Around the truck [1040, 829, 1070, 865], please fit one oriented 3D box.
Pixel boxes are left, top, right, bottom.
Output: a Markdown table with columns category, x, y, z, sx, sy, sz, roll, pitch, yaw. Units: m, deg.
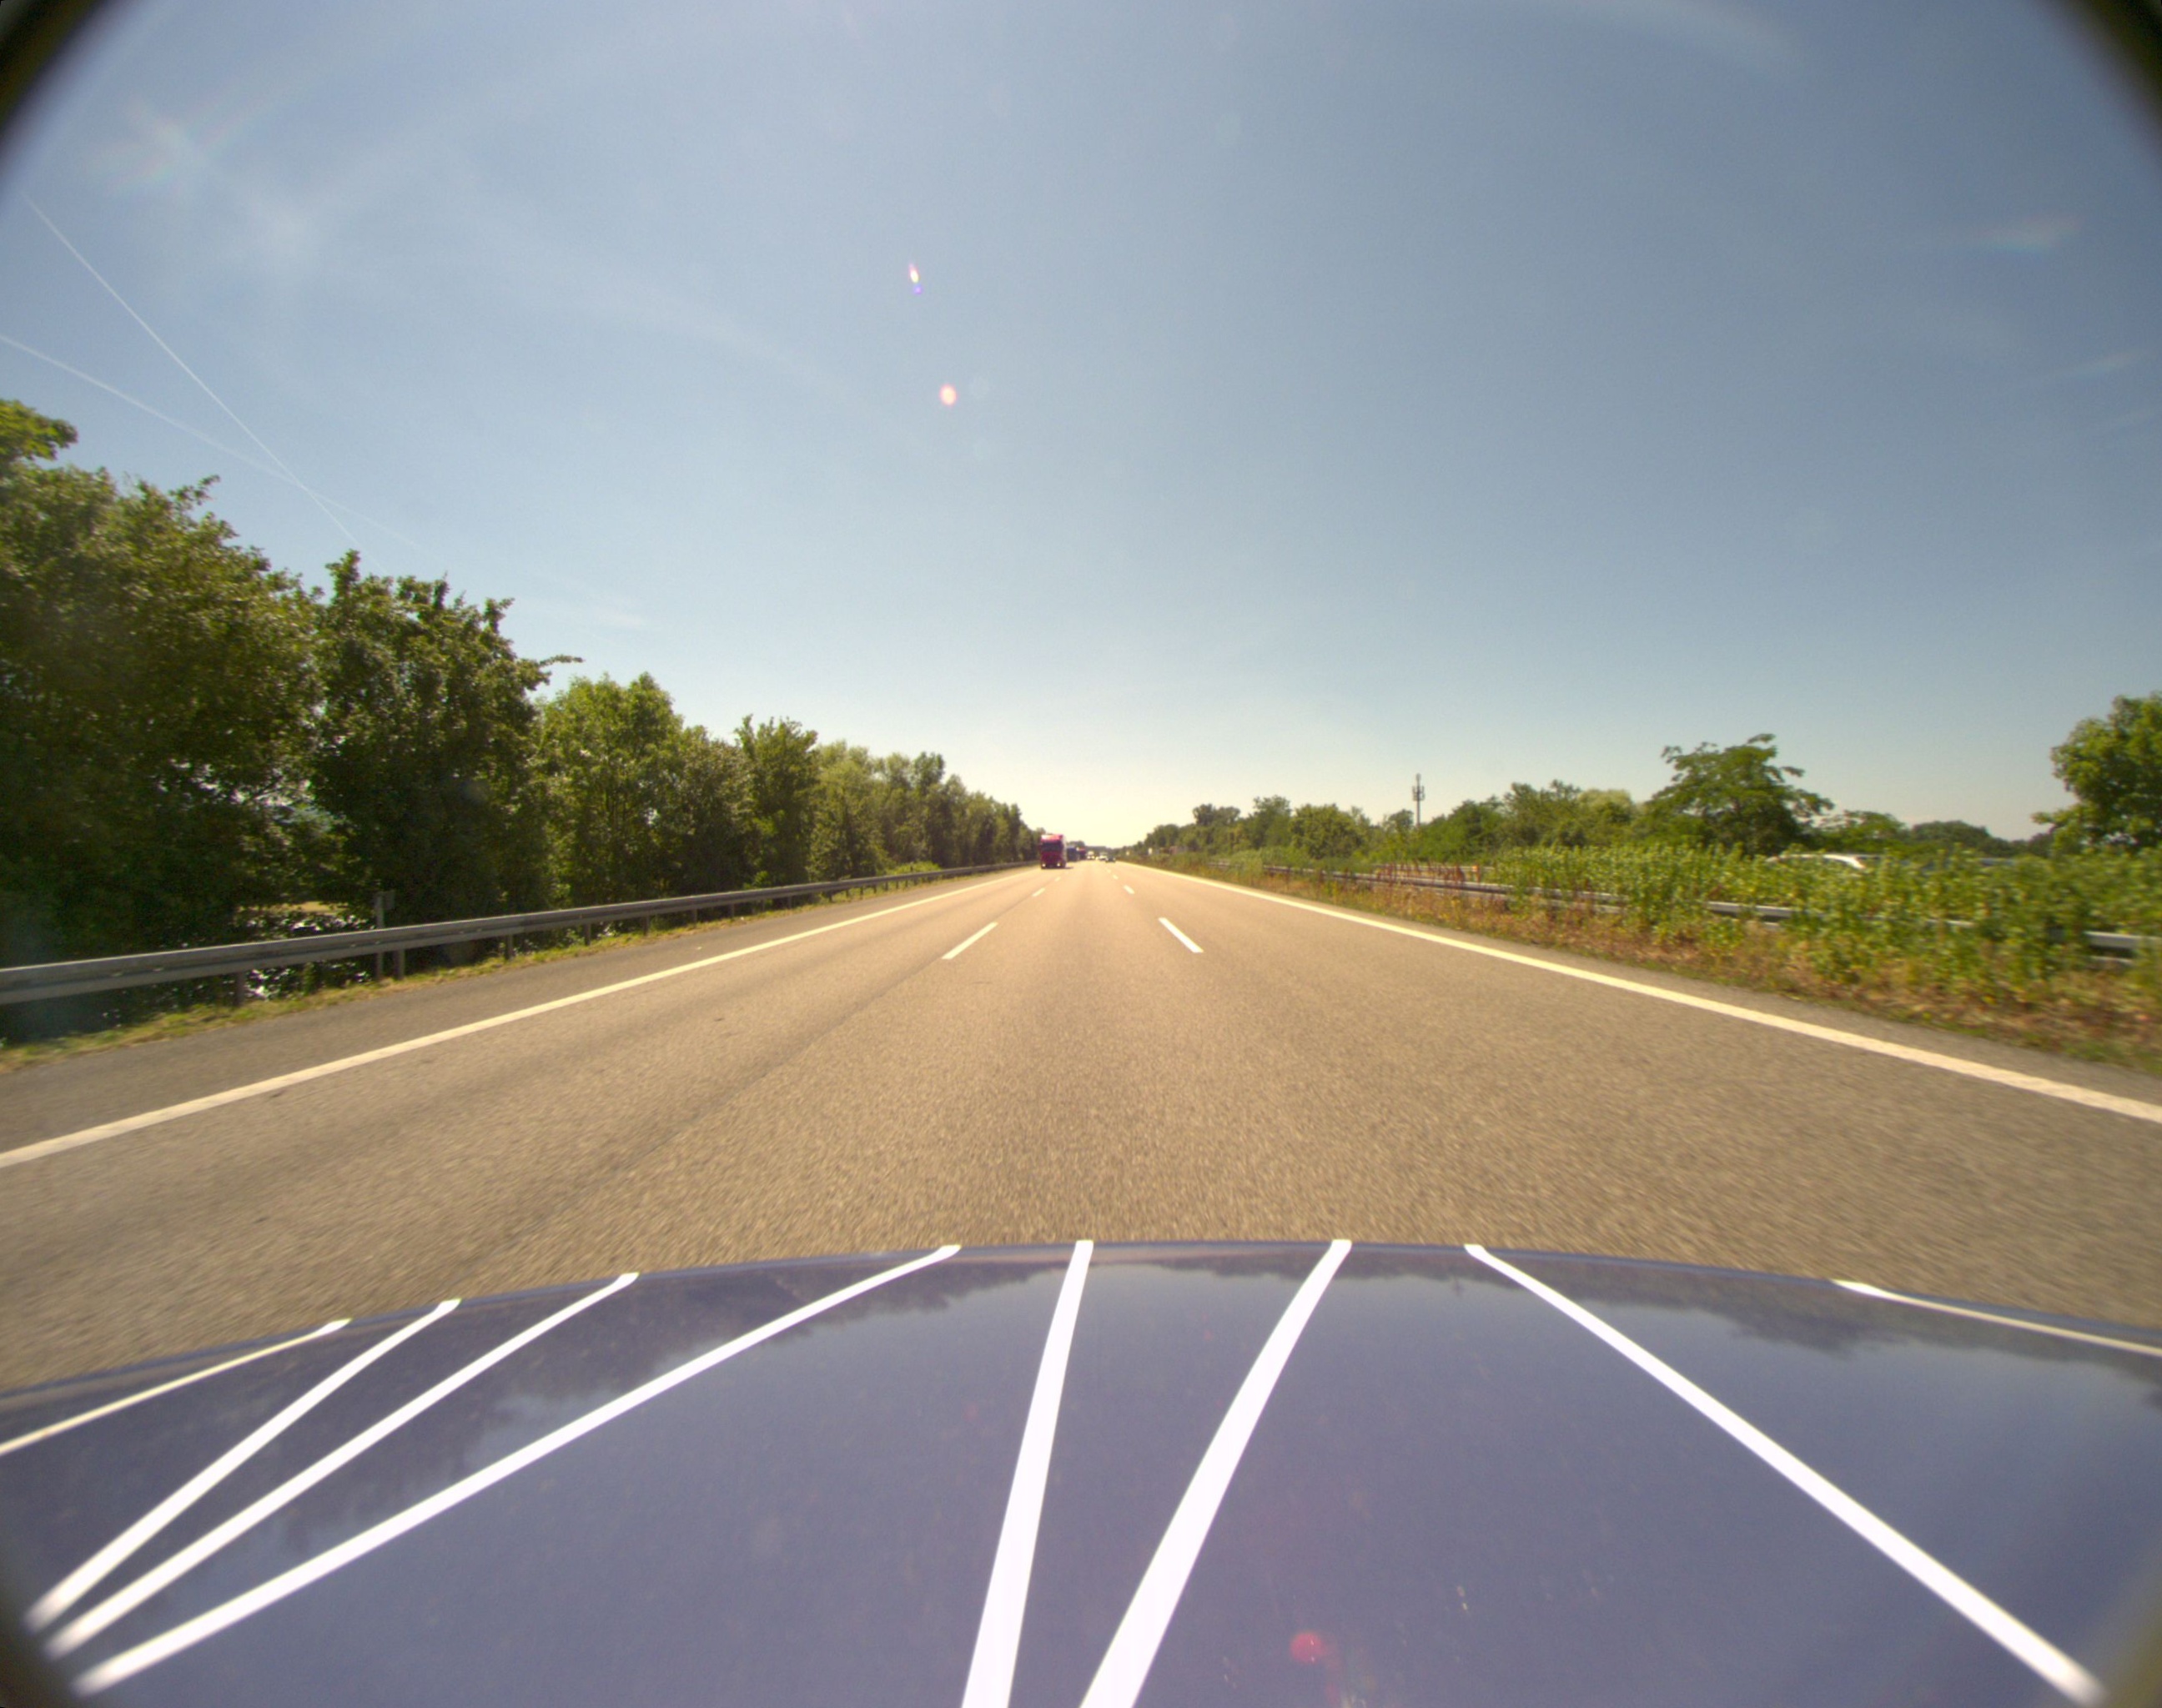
| category | x | y | z | sx | sy | sz | roll | pitch | yaw |
| --- | --- | --- | --- | --- | --- | --- | --- | --- | --- |
| truck | -3.032 | -0.815 | 91.342 | 2.938 | 3.934 | 10.259 | -2 | 0 | 1 |

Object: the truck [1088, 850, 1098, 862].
| category | x | y | z | sx | sy | sz | roll | pitch | yaw |
| --- | --- | --- | --- | --- | --- | --- | --- | --- | --- |
| truck | 3.758 | 0.563 | 239.490 | 2.726 | 3.391 | 9.769 | -2 | 0 | 1 |

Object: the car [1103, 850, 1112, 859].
| category | x | y | z | sx | sy | sz | roll | pitch | yaw |
| --- | --- | --- | --- | --- | --- | --- | --- | --- | --- |
| car | 6.495 | 0.120 | 184.163 | 1.998 | 2.002 | 4.755 | -2 | 0 | 1 |

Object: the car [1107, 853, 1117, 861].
| category | x | y | z | sx | sy | sz | roll | pitch | yaw |
| --- | --- | --- | --- | --- | --- | --- | --- | --- | --- |
| car | 5.698 | 0.580 | 141.184 | 1.736 | 1.433 | 4.000 | -2 | 0 | 1 |

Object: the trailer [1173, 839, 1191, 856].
| category | x | y | z | sx | sy | sz | roll | pitch | yaw |
| --- | --- | --- | --- | --- | --- | --- | --- | --- | --- |
| trailer | 24.533 | -1.537 | 184.840 | 2.939 | 3.952 | 10.628 | -2 | 0 | 2 |

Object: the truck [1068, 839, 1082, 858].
| category | x | y | z | sx | sy | sz | roll | pitch | yaw |
| --- | --- | --- | --- | --- | --- | --- | --- | --- | --- |
| truck | -1.391 | -1.342 | 183.669 | 2.938 | 4.429 | 10.259 | -2 | 0 | 1 |

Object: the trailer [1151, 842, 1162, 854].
| category | x | y | z | sx | sy | sz | roll | pitch | yaw |
| --- | --- | --- | --- | --- | --- | --- | --- | --- | --- |
| trailer | 25.551 | -2.055 | 257.615 | 2.939 | 3.952 | 12.321 | -2 | 0 | 1 |

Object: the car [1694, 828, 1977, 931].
| category | x | y | z | sx | sy | sz | roll | pitch | yaw |
| --- | --- | --- | --- | --- | --- | --- | --- | --- | --- |
| car | 17.117 | 0.501 | 17.674 | 1.971 | 2.002 | 4.647 | -2 | 0 | 1 |
